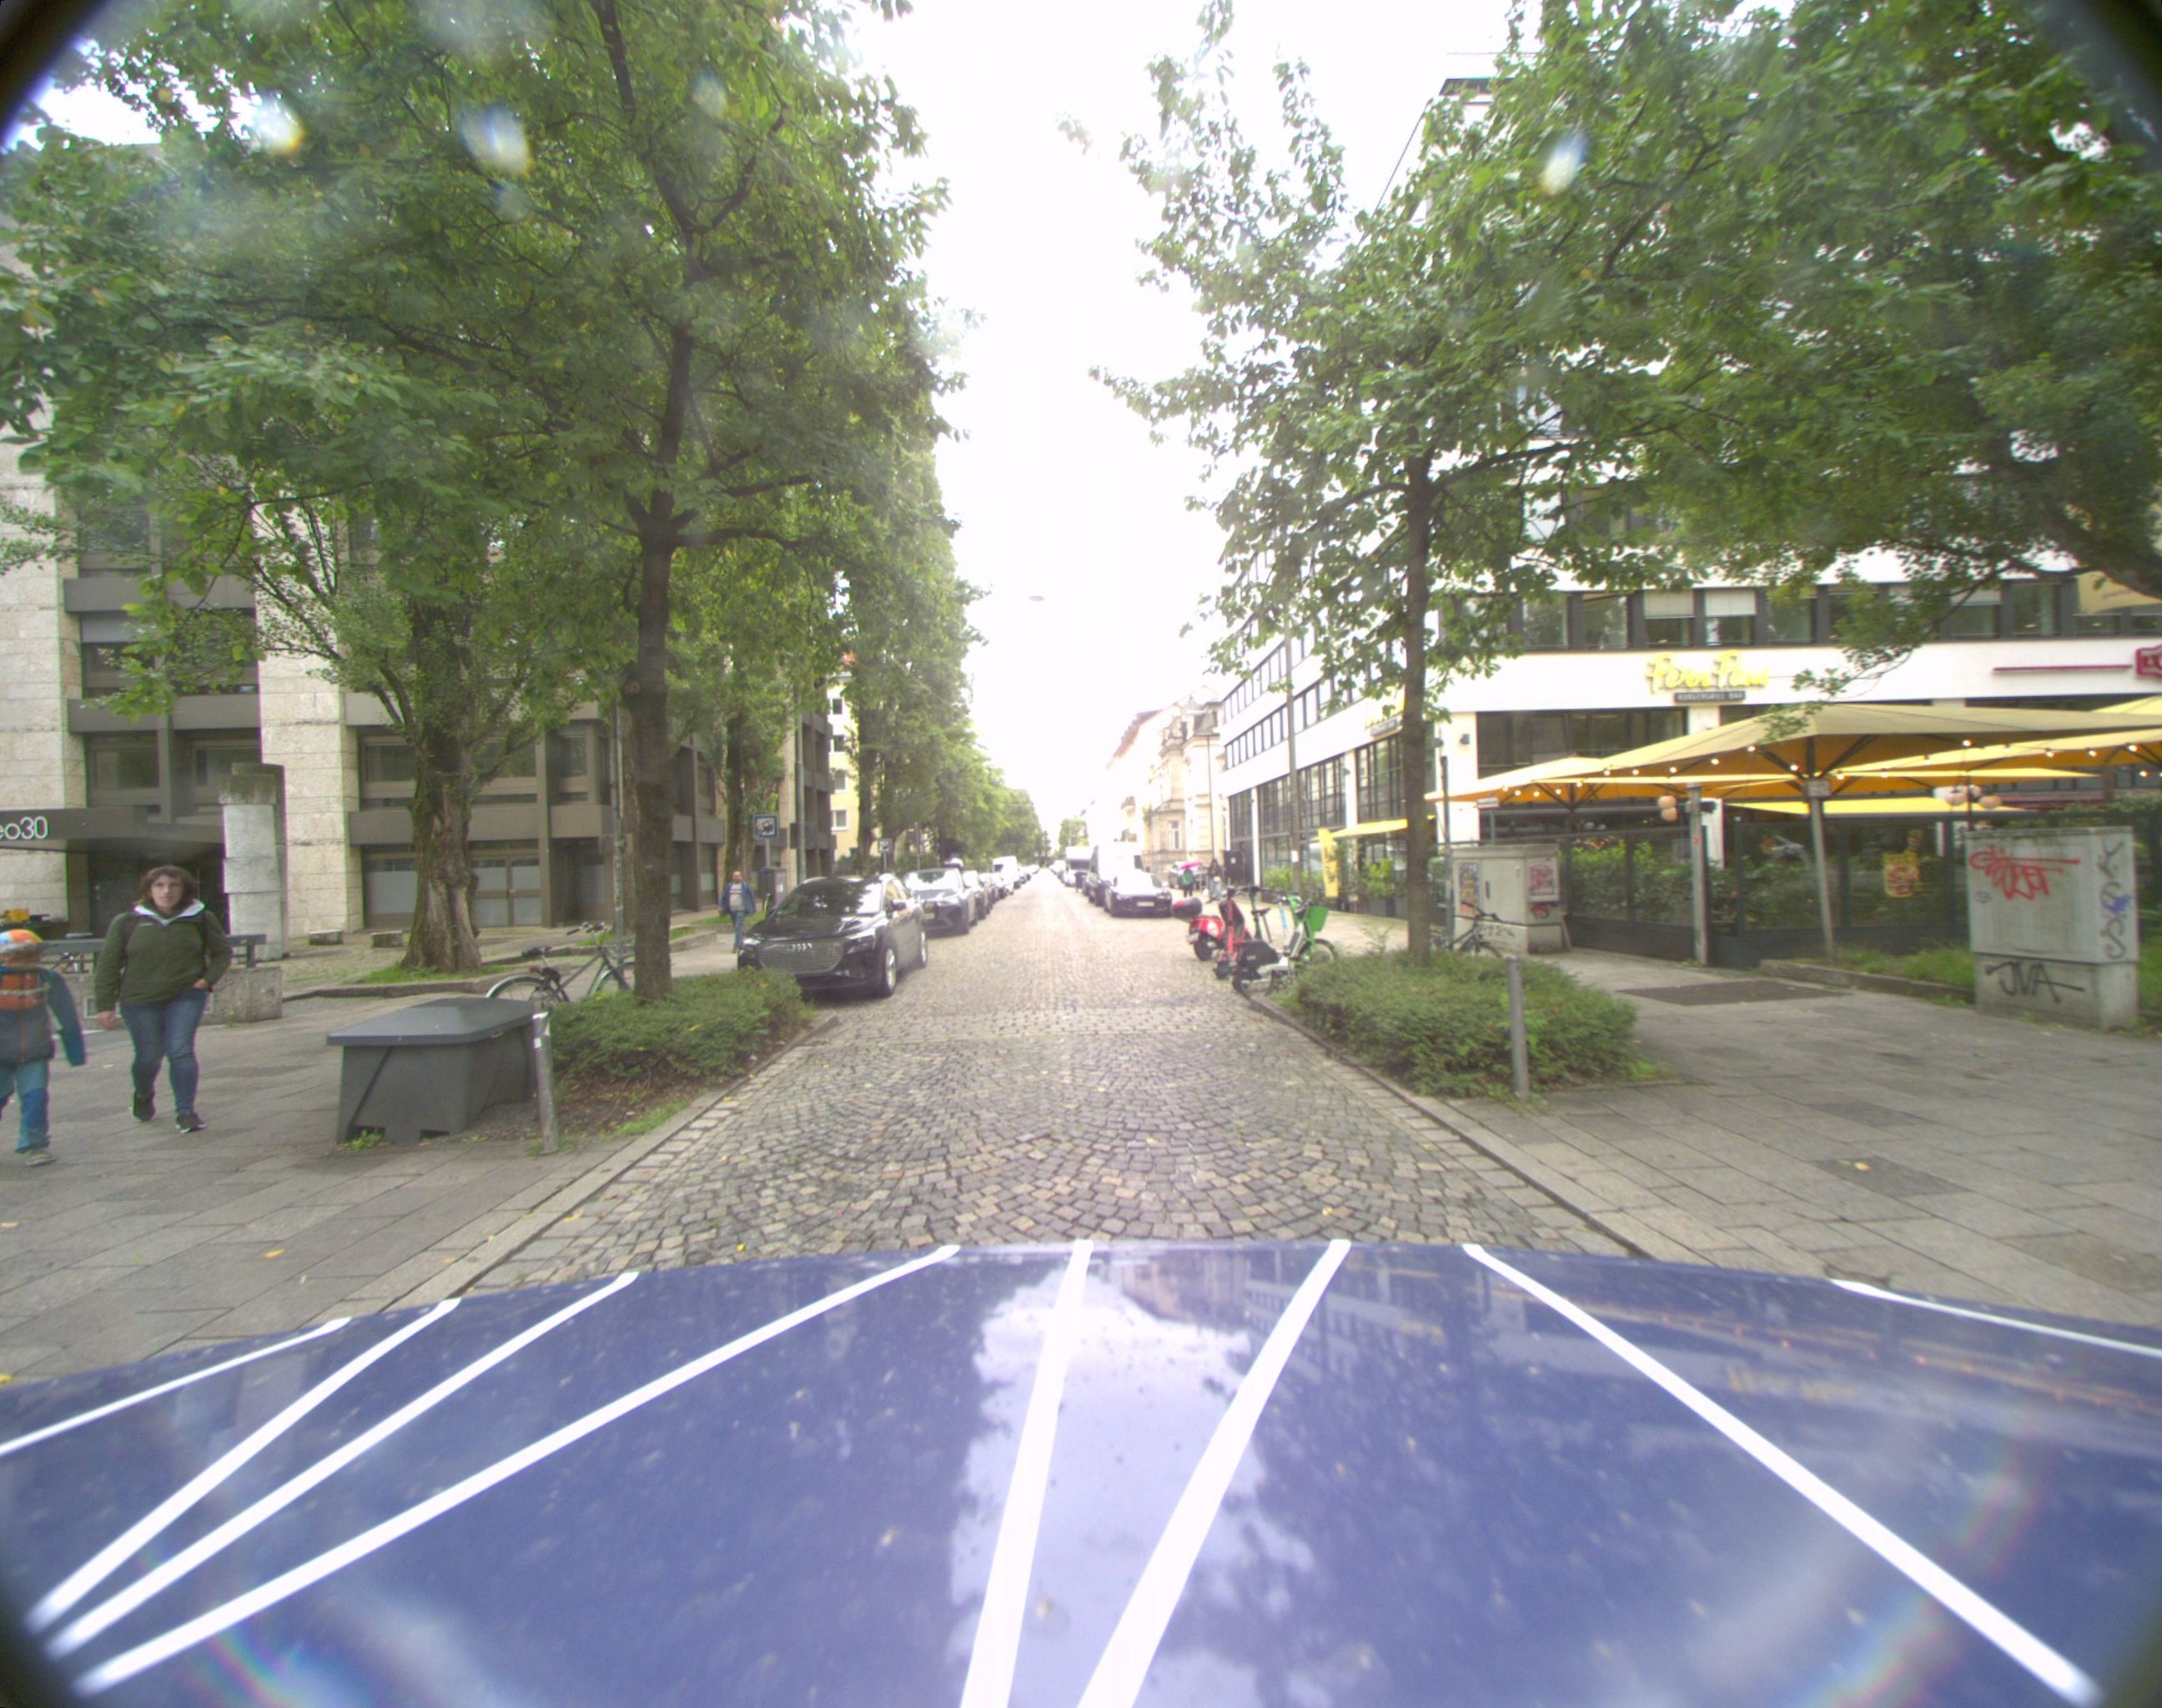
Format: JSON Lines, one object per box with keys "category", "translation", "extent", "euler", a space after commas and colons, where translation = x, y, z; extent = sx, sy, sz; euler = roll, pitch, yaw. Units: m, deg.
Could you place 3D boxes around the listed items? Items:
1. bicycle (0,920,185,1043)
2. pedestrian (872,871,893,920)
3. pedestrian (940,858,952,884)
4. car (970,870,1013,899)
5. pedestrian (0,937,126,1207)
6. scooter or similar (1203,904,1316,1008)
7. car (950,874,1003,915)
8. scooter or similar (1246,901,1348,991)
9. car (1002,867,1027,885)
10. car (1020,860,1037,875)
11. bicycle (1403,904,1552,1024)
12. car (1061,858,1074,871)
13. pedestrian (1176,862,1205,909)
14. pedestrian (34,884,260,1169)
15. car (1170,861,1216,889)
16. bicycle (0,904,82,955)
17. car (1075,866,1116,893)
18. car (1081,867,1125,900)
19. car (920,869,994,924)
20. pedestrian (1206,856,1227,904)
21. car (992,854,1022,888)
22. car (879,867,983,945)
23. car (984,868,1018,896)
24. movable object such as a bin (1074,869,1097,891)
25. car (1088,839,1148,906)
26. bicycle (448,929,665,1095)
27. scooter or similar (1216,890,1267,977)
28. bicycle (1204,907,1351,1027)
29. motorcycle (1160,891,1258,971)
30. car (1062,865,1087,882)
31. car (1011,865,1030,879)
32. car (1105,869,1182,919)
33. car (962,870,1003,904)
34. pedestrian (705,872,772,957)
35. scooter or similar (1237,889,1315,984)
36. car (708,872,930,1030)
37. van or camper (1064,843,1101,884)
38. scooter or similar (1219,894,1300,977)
{"category": "bicycle", "translation": [-11.742, 1.454, 8.773], "extent": [1.868, 1.269, 0.722], "euler": [-2, 0, -1]}
{"category": "pedestrian", "translation": [-6.661, 1.376, 25.487], "extent": [0.489, 1.619, 0.568], "euler": [-2, 0, 1]}
{"category": "pedestrian", "translation": [-8.077, 1.007, 45.515], "extent": [0.646, 1.528, 0.709], "euler": [-2, 0, -5]}
{"category": "car", "translation": [-4.861, 1.624, 41.739], "extent": [1.999, 1.379, 3.873], "euler": [-3, 0, -3]}
{"category": "pedestrian", "translation": [-6.213, 1.213, 4.239], "extent": [0.769, 1.411, 0.819], "euler": [-2, 0, 14]}
{"category": "scooter or similar", "translation": [2.247, 1.246, 9.512], "extent": [1.432, 1.137, 0.369], "euler": [-2, 0, -26]}
{"category": "car", "translation": [-4.362, 1.651, 32.215], "extent": [1.724, 1.382, 4.204], "euler": [-5, 0, -2]}
{"category": "scooter or similar", "translation": [2.902, 1.234, 10.248], "extent": [1.250, 1.137, 0.327], "euler": [-2, 0, -1]}
{"category": "car", "translation": [-5.753, 1.903, 65.993], "extent": [1.999, 1.379, 3.872], "euler": [-3, 0, -5]}
{"category": "car", "translation": [-6.699, 1.700, 96.668], "extent": [1.999, 1.680, 3.872], "euler": [-3, 0, -5]}
{"category": "bicycle", "translation": [4.130, 1.096, 8.082], "extent": [0.553, 1.016, 1.762], "euler": [-2, 0, -3]}
{"category": "car", "translation": [-2.676, 1.982, 146.538], "extent": [2.088, 2.418, 5.609], "euler": [-2, 0, -4]}
{"category": "pedestrian", "translation": [4.132, 1.179, 28.674], "extent": [0.929, 1.696, 0.800], "euler": [-2, 0, 0]}
{"category": "pedestrian", "translation": [-6.073, 1.060, 4.969], "extent": [0.689, 1.690, 0.665], "euler": [-2, 0, 14]}
{"category": "car", "translation": [6.551, 1.213, 44.882], "extent": [1.913, 1.523, 4.169], "euler": [-2, 0, -2]}
{"category": "bicycle", "translation": [-26.651, 1.887, 18.895], "extent": [0.647, 1.148, 2.245], "euler": [-2, 0, -2]}
{"category": "car", "translation": [0.762, 1.402, 42.501], "extent": [1.999, 1.380, 3.999], "euler": [-1, 0, -3]}
{"category": "car", "translation": [1.011, 1.417, 37.254], "extent": [1.998, 1.422, 4.000], "euler": [-1, 0, 0]}
{"category": "car", "translation": [-4.089, 1.369, 25.766], "extent": [1.999, 1.573, 4.341], "euler": [-2, 0, -4]}
{"category": "pedestrian", "translation": [5.020, 0.968, 28.216], "extent": [0.575, 1.738, 0.650], "euler": [-2, 0, -2]}
{"category": "car", "translation": [-5.735, 1.298, 59.454], "extent": [2.088, 2.418, 5.609], "euler": [-3, 0, -4]}
{"category": "car", "translation": [-3.809, 1.253, 20.121], "extent": [2.018, 1.690, 4.672], "euler": [-3, 0, -4]}
{"category": "car", "translation": [-4.881, 1.668, 46.673], "extent": [1.868, 1.490, 3.872], "euler": [-3, 0, -5]}
{"category": "movable object such as a bin", "translation": [0.274, 1.616, 47.747], "extent": [1.255, 1.290, 1.173], "euler": [-1, 0, -6]}
{"category": "car", "translation": [1.417, 0.722, 31.693], "extent": [2.065, 2.476, 5.848], "euler": [-1, 0, -1]}
{"category": "bicycle", "translation": [-4.657, 1.346, 6.939], "extent": [0.475, 1.130, 1.877], "euler": [-2, 0, 7]}
{"category": "scooter or similar", "translation": [2.575, 1.227, 12.115], "extent": [0.326, 1.265, 1.360], "euler": [-1, -1, 32]}
{"category": "bicycle", "translation": [2.292, 1.250, 8.761], "extent": [1.766, 1.136, 0.552], "euler": [-2, 0, -33]}
{"category": "motorcycle", "translation": [2.205, 1.259, 12.921], "extent": [0.769, 1.188, 1.996], "euler": [0, -1, 39]}
{"category": "car", "translation": [-0.641, 1.832, 72.690], "extent": [1.999, 1.379, 3.872], "euler": [-3, 0, -5]}
{"category": "car", "translation": [-6.906, 2.045, 86.748], "extent": [1.999, 1.379, 3.872], "euler": [-2, 0, -5]}
{"category": "car", "translation": [1.903, 1.221, 24.482], "extent": [1.999, 1.322, 4.116], "euler": [-2, 0, -1]}
{"category": "car", "translation": [-4.718, 1.565, 36.915], "extent": [1.605, 1.422, 3.561], "euler": [-4, 0, -3]}
{"category": "pedestrian", "translation": [-7.238, 1.257, 16.089], "extent": [0.867, 1.704, 0.913], "euler": [-2, 0, 17]}
{"category": "scooter or similar", "translation": [2.873, 1.182, 11.154], "extent": [1.253, 1.265, 0.327], "euler": [-1, 0, -33]}
{"category": "car", "translation": [-3.502, 1.190, 11.070], "extent": [1.926, 1.690, 4.200], "euler": [-3, 0, -4]}
{"category": "van or camper", "translation": [0.007, 0.745, 61.744], "extent": [2.464, 3.029, 7.315], "euler": [-2, 0, -4]}
{"category": "scooter or similar", "translation": [2.727, 1.222, 11.723], "extent": [0.391, 1.173, 1.248], "euler": [-2, 0, -34]}
